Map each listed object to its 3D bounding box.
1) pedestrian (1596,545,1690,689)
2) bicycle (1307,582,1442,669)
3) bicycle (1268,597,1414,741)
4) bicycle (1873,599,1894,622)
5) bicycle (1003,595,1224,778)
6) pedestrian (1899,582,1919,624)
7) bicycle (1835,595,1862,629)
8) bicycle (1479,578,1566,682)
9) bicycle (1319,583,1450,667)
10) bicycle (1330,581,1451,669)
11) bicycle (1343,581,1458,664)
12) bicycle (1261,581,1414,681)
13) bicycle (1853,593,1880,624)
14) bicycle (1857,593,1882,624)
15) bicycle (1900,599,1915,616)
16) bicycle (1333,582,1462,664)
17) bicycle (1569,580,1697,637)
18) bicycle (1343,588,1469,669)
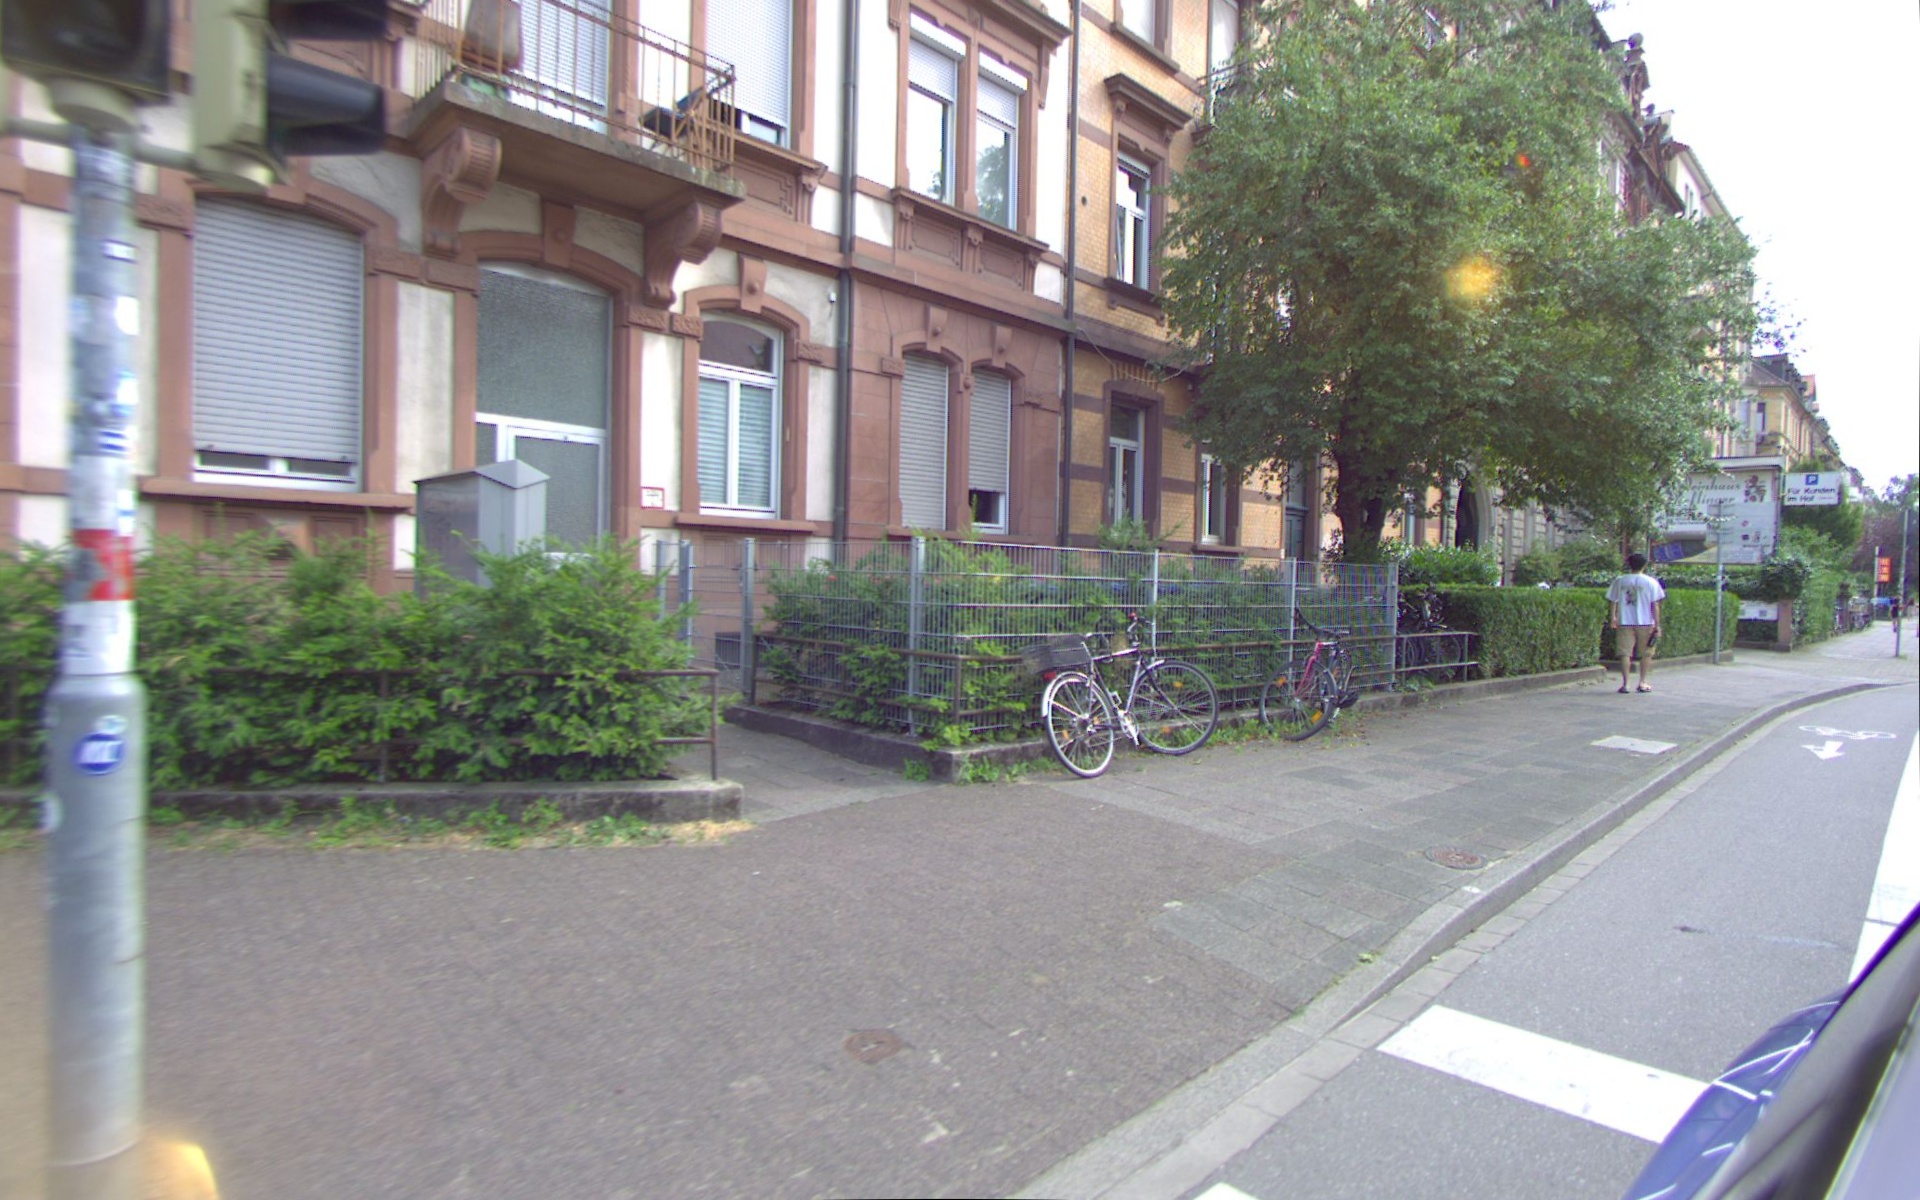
[{"bbox_3d":[8.840,0.199,13.097,0.933,1.775,0.732,0,2,-40],"label":"pedestrian"},{"bbox_3d":[5.321,0.303,13.059,1.546,1.021,0.437,3,2,45],"label":"bicycle"},{"bbox_3d":[3.312,0.546,8.745,1.524,1.101,0.509,0,5,-45],"label":"bicycle"},{"bbox_3d":[42.384,0.487,46.435,0.579,0.994,1.645,8,6,44],"label":"bicycle"},{"bbox_3d":[1.121,0.542,7.166,1.644,1.120,0.671,0,2,-45],"label":"bicycle"},{"bbox_3d":[38.870,0.119,41.281,0.822,1.643,0.731,0,2,-45],"label":"pedestrian"},{"bbox_3d":[30.569,0.411,34.802,0.579,1.126,1.645,3,2,44],"label":"bicycle"},{"bbox_3d":[7.467,0.369,13.408,1.523,1.298,0.517,0,2,-43],"label":"bicycle"},{"bbox_3d":[5.654,0.310,13.547,1.546,1.021,0.437,3,2,45],"label":"bicycle"},{"bbox_3d":[6.393,0.348,15.085,1.546,1.195,0.509,3,2,45],"label":"bicycle"},{"bbox_3d":[6.894,0.332,15.893,1.546,1.195,0.509,3,2,45],"label":"bicycle"},{"bbox_3d":[4.281,0.323,11.558,1.546,1.021,0.502,3,2,45],"label":"bicycle"},{"bbox_3d":[34.410,0.314,38.412,0.579,1.125,1.645,8,5,44],"label":"bicycle"},{"bbox_3d":[35.770,0.314,39.798,0.579,1.125,1.645,8,5,44],"label":"bicycle"},{"bbox_3d":[65.046,0.487,69.488,1.843,1.126,0.630,0,2,-44],"label":"bicycle"},{"bbox_3d":[5.959,0.284,13.846,1.546,1.021,0.437,3,2,45],"label":"bicycle"},{"bbox_3d":[17.325,0.180,26.103,2.624,1.328,0.758,3,2,44],"label":"bicycle"},{"bbox_3d":[6.230,0.369,14.189,1.546,1.021,0.437,3,2,45],"label":"bicycle"}]
